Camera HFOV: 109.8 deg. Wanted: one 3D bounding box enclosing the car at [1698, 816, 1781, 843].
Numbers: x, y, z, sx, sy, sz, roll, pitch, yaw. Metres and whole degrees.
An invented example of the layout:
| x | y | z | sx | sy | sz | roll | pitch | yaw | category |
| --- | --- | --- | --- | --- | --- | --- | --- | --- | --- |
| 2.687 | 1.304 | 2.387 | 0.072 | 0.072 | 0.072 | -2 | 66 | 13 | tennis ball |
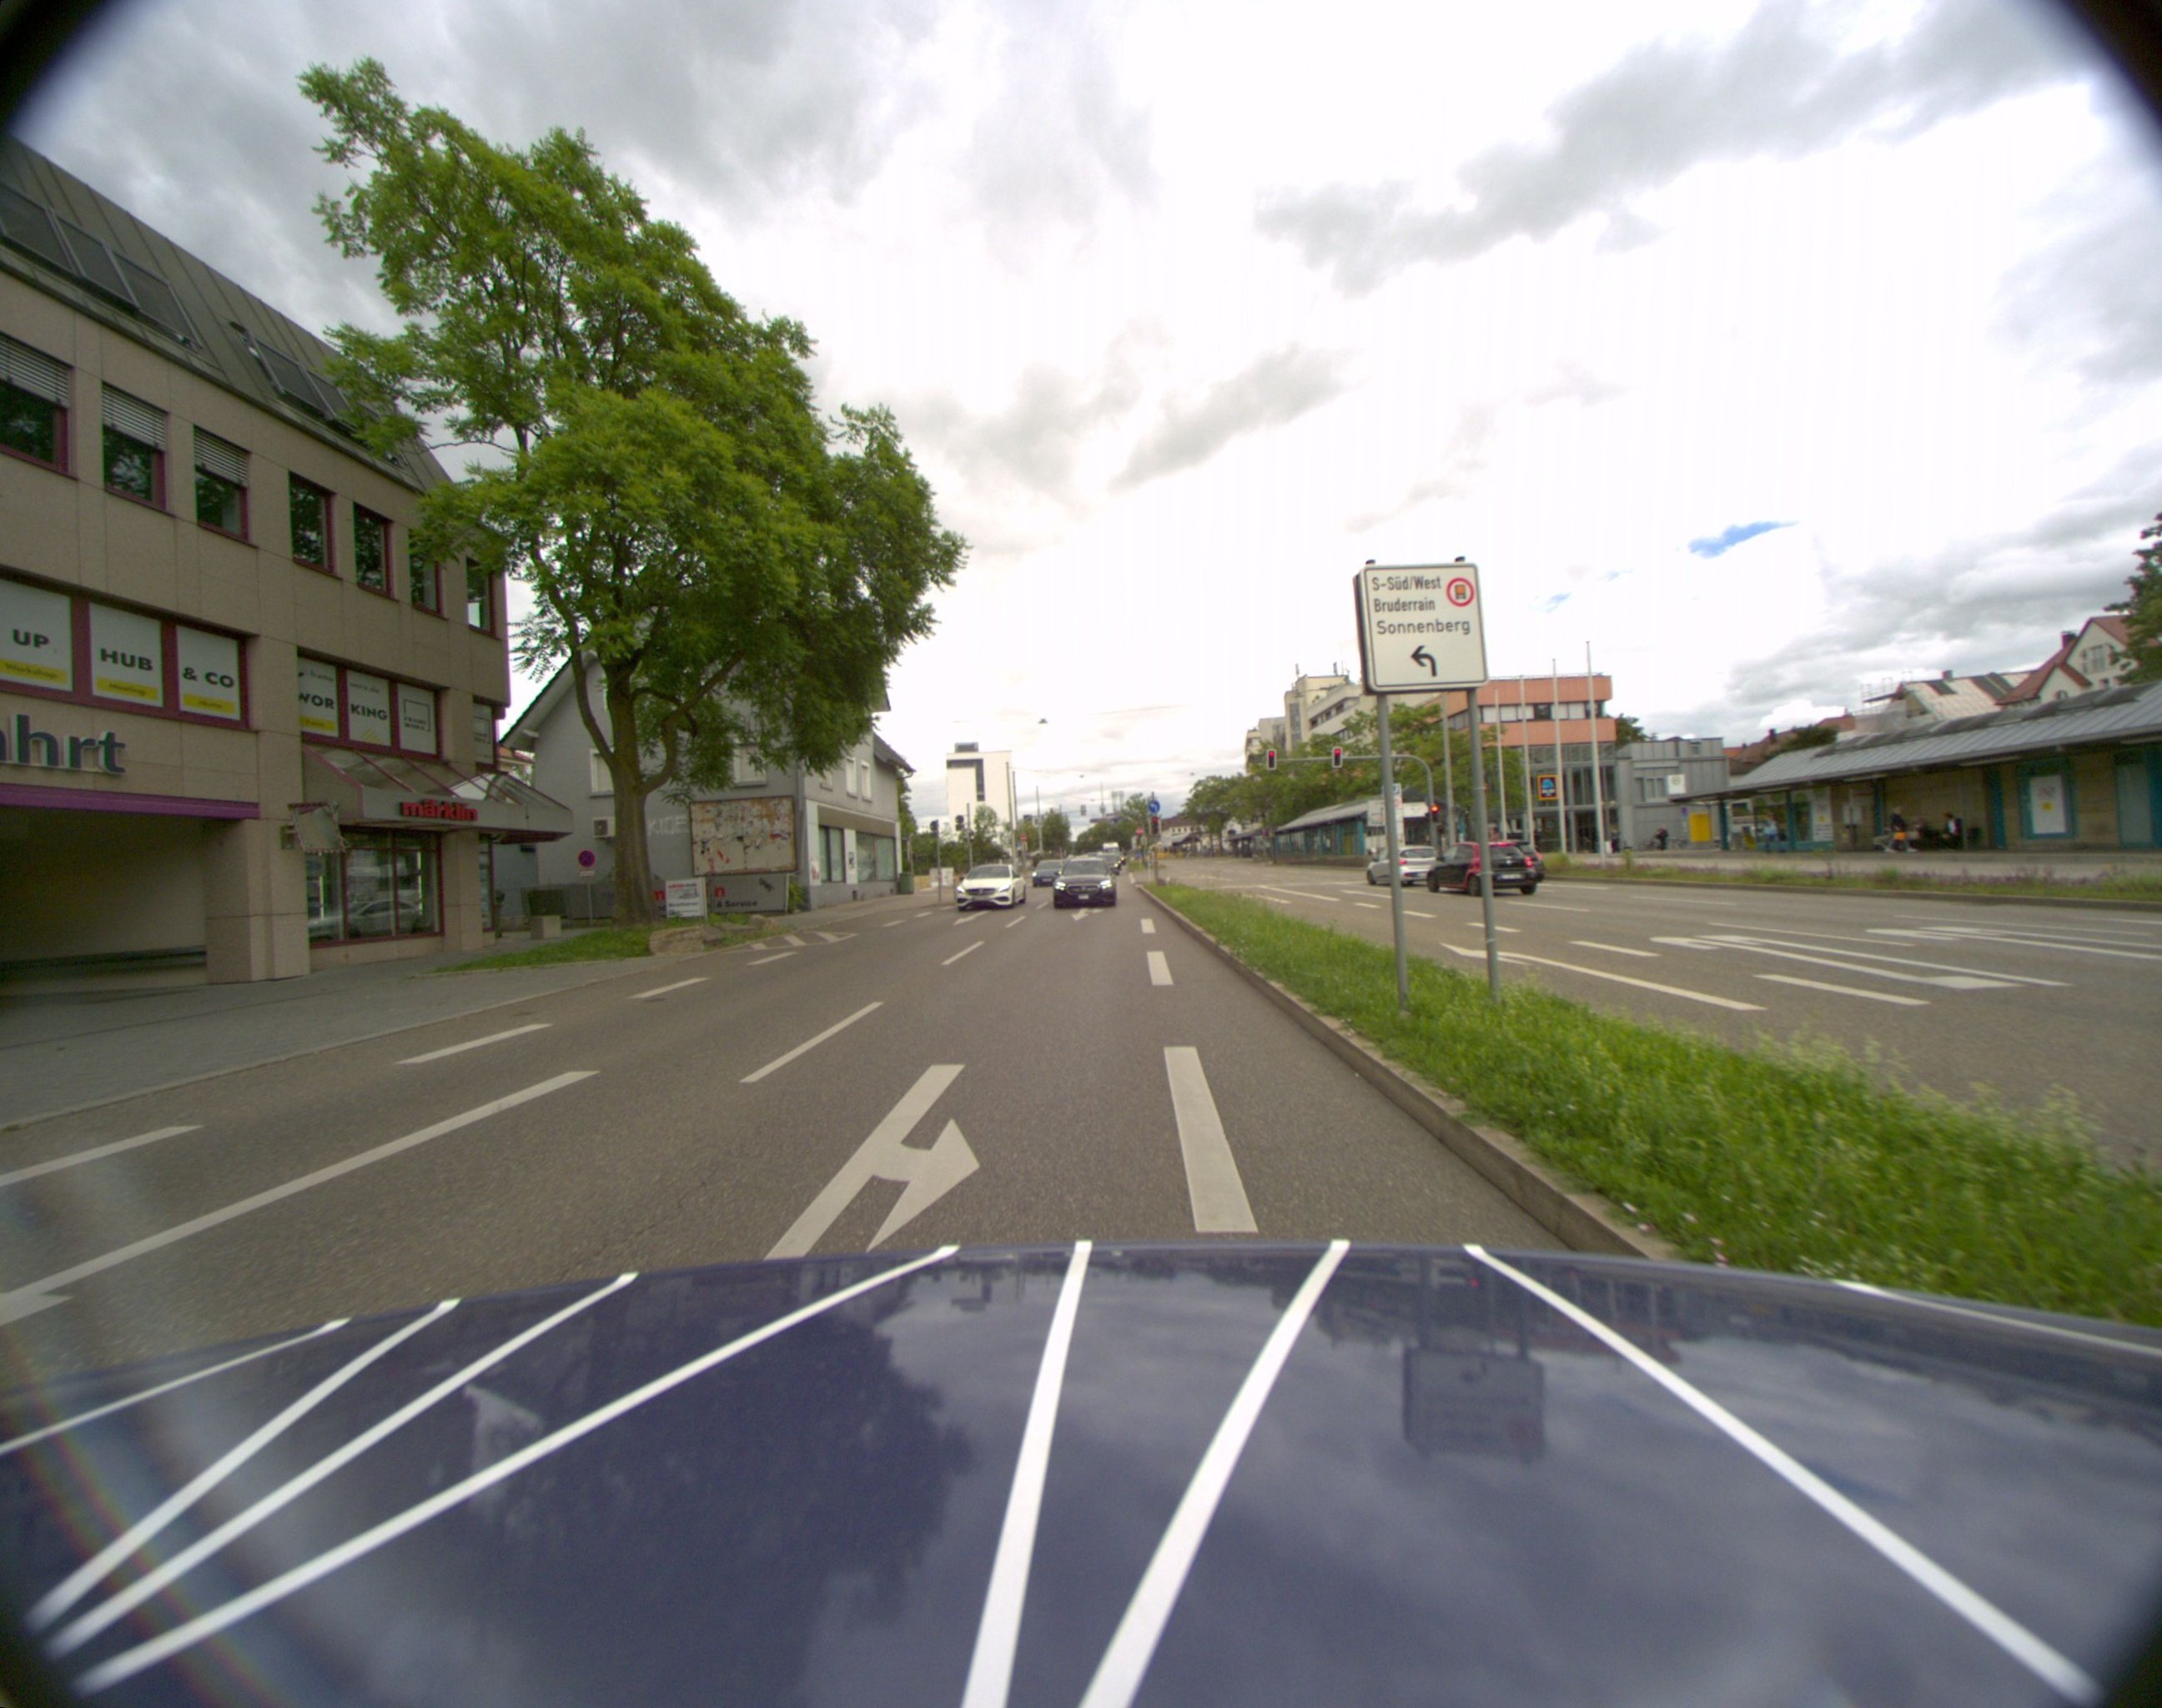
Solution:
| x | y | z | sx | sy | sz | roll | pitch | yaw | category |
| --- | --- | --- | --- | --- | --- | --- | --- | --- | --- |
| 45.191 | -1.655 | 52.180 | 3.998 | 1.587 | 1.999 | -3 | 1 | -2 | car |

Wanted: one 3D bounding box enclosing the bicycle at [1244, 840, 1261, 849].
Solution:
| x | y | z | sx | sy | sz | roll | pitch | yaw | category |
| --- | --- | --- | --- | --- | --- | --- | --- | --- | --- |
| 23.045 | -1.238 | 101.911 | 2.069 | 1.084 | 0.542 | -4 | 1 | 2 | bicycle |

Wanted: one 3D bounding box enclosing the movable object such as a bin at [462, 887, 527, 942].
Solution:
| x | y | z | sx | sy | sz | roll | pitch | yaw | category |
| --- | --- | --- | --- | --- | --- | --- | --- | --- | --- |
| -16.307 | 1.663 | 21.156 | 0.886 | 1.405 | 1.086 | -3 | 1 | 2 | movable object such as a bin |

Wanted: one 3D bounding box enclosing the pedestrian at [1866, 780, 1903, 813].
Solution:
| x | y | z | sx | sy | sz | roll | pitch | yaw | category |
| --- | --- | --- | --- | --- | --- | --- | --- | --- | --- |
| 29.278 | -2.097 | 27.702 | 0.621 | 1.114 | 0.658 | -3 | 1 | 4 | pedestrian |

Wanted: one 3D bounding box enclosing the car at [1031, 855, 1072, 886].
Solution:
| x | y | z | sx | sy | sz | roll | pitch | yaw | category |
| --- | --- | --- | --- | --- | --- | --- | --- | --- | --- |
| -1.616 | 0.896 | 43.232 | 1.798 | 1.464 | 4.311 | -5 | 0 | 4 | car |

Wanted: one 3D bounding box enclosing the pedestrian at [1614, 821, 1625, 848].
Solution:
| x | y | z | sx | sy | sz | roll | pitch | yaw | category |
| --- | --- | --- | --- | --- | --- | --- | --- | --- | --- |
| 31.746 | -1.156 | 44.770 | 0.486 | 1.539 | 0.382 | -4 | 1 | -42 | pedestrian |

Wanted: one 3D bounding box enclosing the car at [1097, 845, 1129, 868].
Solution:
| x | y | z | sx | sy | sz | roll | pitch | yaw | category |
| --- | --- | --- | --- | --- | --- | --- | --- | --- | --- |
| 2.360 | 0.172 | 56.384 | 1.972 | 1.631 | 4.311 | -1 | 0 | -3 | car |

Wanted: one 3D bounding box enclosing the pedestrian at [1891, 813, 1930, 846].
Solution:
| x | y | z | sx | sy | sz | roll | pitch | yaw | category |
| --- | --- | --- | --- | --- | --- | --- | --- | --- | --- |
| 29.081 | -0.850 | 26.649 | 0.621 | 1.114 | 0.658 | -3 | 1 | 4 | pedestrian |

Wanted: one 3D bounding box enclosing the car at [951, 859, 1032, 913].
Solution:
| x | y | z | sx | sy | sz | roll | pitch | yaw | category |
| --- | --- | --- | --- | --- | --- | --- | --- | --- | --- |
| -2.875 | 0.981 | 25.456 | 1.798 | 1.464 | 4.700 | -3 | 1 | 4 | car |

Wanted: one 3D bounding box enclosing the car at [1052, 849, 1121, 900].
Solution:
| x | y | z | sx | sy | sz | roll | pitch | yaw | category |
| --- | --- | --- | --- | --- | --- | --- | --- | --- | --- |
| 0.198 | 0.627 | 25.976 | 2.058 | 1.477 | 4.973 | -3 | 0 | 1 | car |

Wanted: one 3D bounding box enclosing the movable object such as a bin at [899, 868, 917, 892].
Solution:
| x | y | z | sx | sy | sz | roll | pitch | yaw | category |
| --- | --- | --- | --- | --- | --- | --- | --- | --- | --- |
| -8.149 | 1.231 | 35.864 | 0.610 | 1.098 | 0.710 | -3 | 1 | 3 | movable object such as a bin |

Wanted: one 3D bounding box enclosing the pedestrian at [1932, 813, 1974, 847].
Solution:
| x | y | z | sx | sy | sz | roll | pitch | yaw | category |
| --- | --- | --- | --- | --- | --- | --- | --- | --- | --- |
| 29.103 | -0.796 | 25.372 | 0.621 | 1.114 | 0.658 | -3 | 1 | 4 | pedestrian |

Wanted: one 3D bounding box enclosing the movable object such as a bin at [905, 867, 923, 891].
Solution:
| x | y | z | sx | sy | sz | roll | pitch | yaw | category |
| --- | --- | --- | --- | --- | --- | --- | --- | --- | --- |
| -8.039 | 1.187 | 36.649 | 0.627 | 1.098 | 0.710 | -3 | 1 | 3 | movable object such as a bin |

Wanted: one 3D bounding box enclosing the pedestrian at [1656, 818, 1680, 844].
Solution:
| x | y | z | sx | sy | sz | roll | pitch | yaw | category |
| --- | --- | --- | --- | --- | --- | --- | --- | --- | --- |
| 33.799 | -1.340 | 43.782 | 0.591 | 1.452 | 0.992 | -3 | 1 | 3 | pedestrian |

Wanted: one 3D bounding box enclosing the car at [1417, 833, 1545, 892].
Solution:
| x | y | z | sx | sy | sz | roll | pitch | yaw | category |
| --- | --- | --- | --- | --- | --- | --- | --- | --- | --- |
| 11.453 | 0.206 | 22.055 | 1.663 | 1.499 | 3.768 | -3 | 1 | 0 | car |

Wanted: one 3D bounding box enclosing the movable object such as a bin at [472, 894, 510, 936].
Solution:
| x | y | z | sx | sy | sz | roll | pitch | yaw | category |
| --- | --- | --- | --- | --- | --- | --- | --- | --- | --- |
| -15.725 | 1.617 | 20.260 | 0.489 | 1.060 | 0.560 | -3 | 1 | 2 | movable object such as a bin |

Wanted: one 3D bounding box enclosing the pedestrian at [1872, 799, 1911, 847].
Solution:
| x | y | z | sx | sy | sz | roll | pitch | yaw | category |
| --- | --- | --- | --- | --- | --- | --- | --- | --- | --- |
| 28.343 | -1.064 | 26.567 | 0.621 | 1.640 | 0.658 | -3 | 1 | 4 | pedestrian |

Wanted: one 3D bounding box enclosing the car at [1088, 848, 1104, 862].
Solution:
| x | y | z | sx | sy | sz | roll | pitch | yaw | category |
| --- | --- | --- | --- | --- | --- | --- | --- | --- | --- |
| 2.071 | 0.098 | 103.495 | 2.020 | 1.760 | 4.000 | -3 | 0 | 1 | car |

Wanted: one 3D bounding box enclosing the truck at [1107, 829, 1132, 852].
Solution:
| x | y | z | sx | sy | sz | roll | pitch | yaw | category |
| --- | --- | --- | --- | --- | --- | --- | --- | --- | --- |
| 5.683 | -1.917 | 114.440 | 3.119 | 3.209 | 6.523 | -3 | 0 | -2 | truck |

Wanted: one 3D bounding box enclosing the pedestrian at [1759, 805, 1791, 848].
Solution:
| x | y | z | sx | sy | sz | roll | pitch | yaw | category |
| --- | --- | --- | --- | --- | --- | --- | --- | --- | --- |
| 27.507 | -1.078 | 30.111 | 0.621 | 1.640 | 0.658 | -3 | 1 | 4 | pedestrian |

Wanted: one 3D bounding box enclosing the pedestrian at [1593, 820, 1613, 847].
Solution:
| x | y | z | sx | sy | sz | roll | pitch | yaw | category |
| --- | --- | --- | --- | --- | --- | --- | --- | --- | --- |
| 30.920 | -1.185 | 44.974 | 0.531 | 1.539 | 0.753 | -3 | 1 | -13 | pedestrian |

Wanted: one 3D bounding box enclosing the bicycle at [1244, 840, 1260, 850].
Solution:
| x | y | z | sx | sy | sz | roll | pitch | yaw | category |
| --- | --- | --- | --- | --- | --- | --- | --- | --- | --- |
| 23.057 | -1.209 | 102.519 | 2.069 | 1.132 | 0.542 | -4 | 1 | 2 | bicycle |

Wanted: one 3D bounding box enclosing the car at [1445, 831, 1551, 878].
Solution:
| x | y | z | sx | sy | sz | roll | pitch | yaw | category |
| --- | --- | --- | --- | --- | --- | --- | --- | --- | --- |
| 15.042 | -0.003 | 27.666 | 1.819 | 1.499 | 4.000 | -3 | 1 | 4 | car |

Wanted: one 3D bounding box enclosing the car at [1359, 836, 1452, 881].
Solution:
| x | y | z | sx | sy | sz | roll | pitch | yaw | category |
| --- | --- | --- | --- | --- | --- | --- | --- | --- | --- |
| 11.869 | 0.184 | 28.048 | 1.749 | 1.456 | 3.790 | -3 | 0 | 0 | car |

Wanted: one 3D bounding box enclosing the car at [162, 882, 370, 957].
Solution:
| x | y | z | sx | sy | sz | roll | pitch | yaw | category |
| --- | --- | --- | --- | --- | --- | --- | --- | --- | --- |
| -25.667 | 2.024 | 24.043 | 4.282 | 2.002 | 2.118 | -3 | 1 | 3 | car |
